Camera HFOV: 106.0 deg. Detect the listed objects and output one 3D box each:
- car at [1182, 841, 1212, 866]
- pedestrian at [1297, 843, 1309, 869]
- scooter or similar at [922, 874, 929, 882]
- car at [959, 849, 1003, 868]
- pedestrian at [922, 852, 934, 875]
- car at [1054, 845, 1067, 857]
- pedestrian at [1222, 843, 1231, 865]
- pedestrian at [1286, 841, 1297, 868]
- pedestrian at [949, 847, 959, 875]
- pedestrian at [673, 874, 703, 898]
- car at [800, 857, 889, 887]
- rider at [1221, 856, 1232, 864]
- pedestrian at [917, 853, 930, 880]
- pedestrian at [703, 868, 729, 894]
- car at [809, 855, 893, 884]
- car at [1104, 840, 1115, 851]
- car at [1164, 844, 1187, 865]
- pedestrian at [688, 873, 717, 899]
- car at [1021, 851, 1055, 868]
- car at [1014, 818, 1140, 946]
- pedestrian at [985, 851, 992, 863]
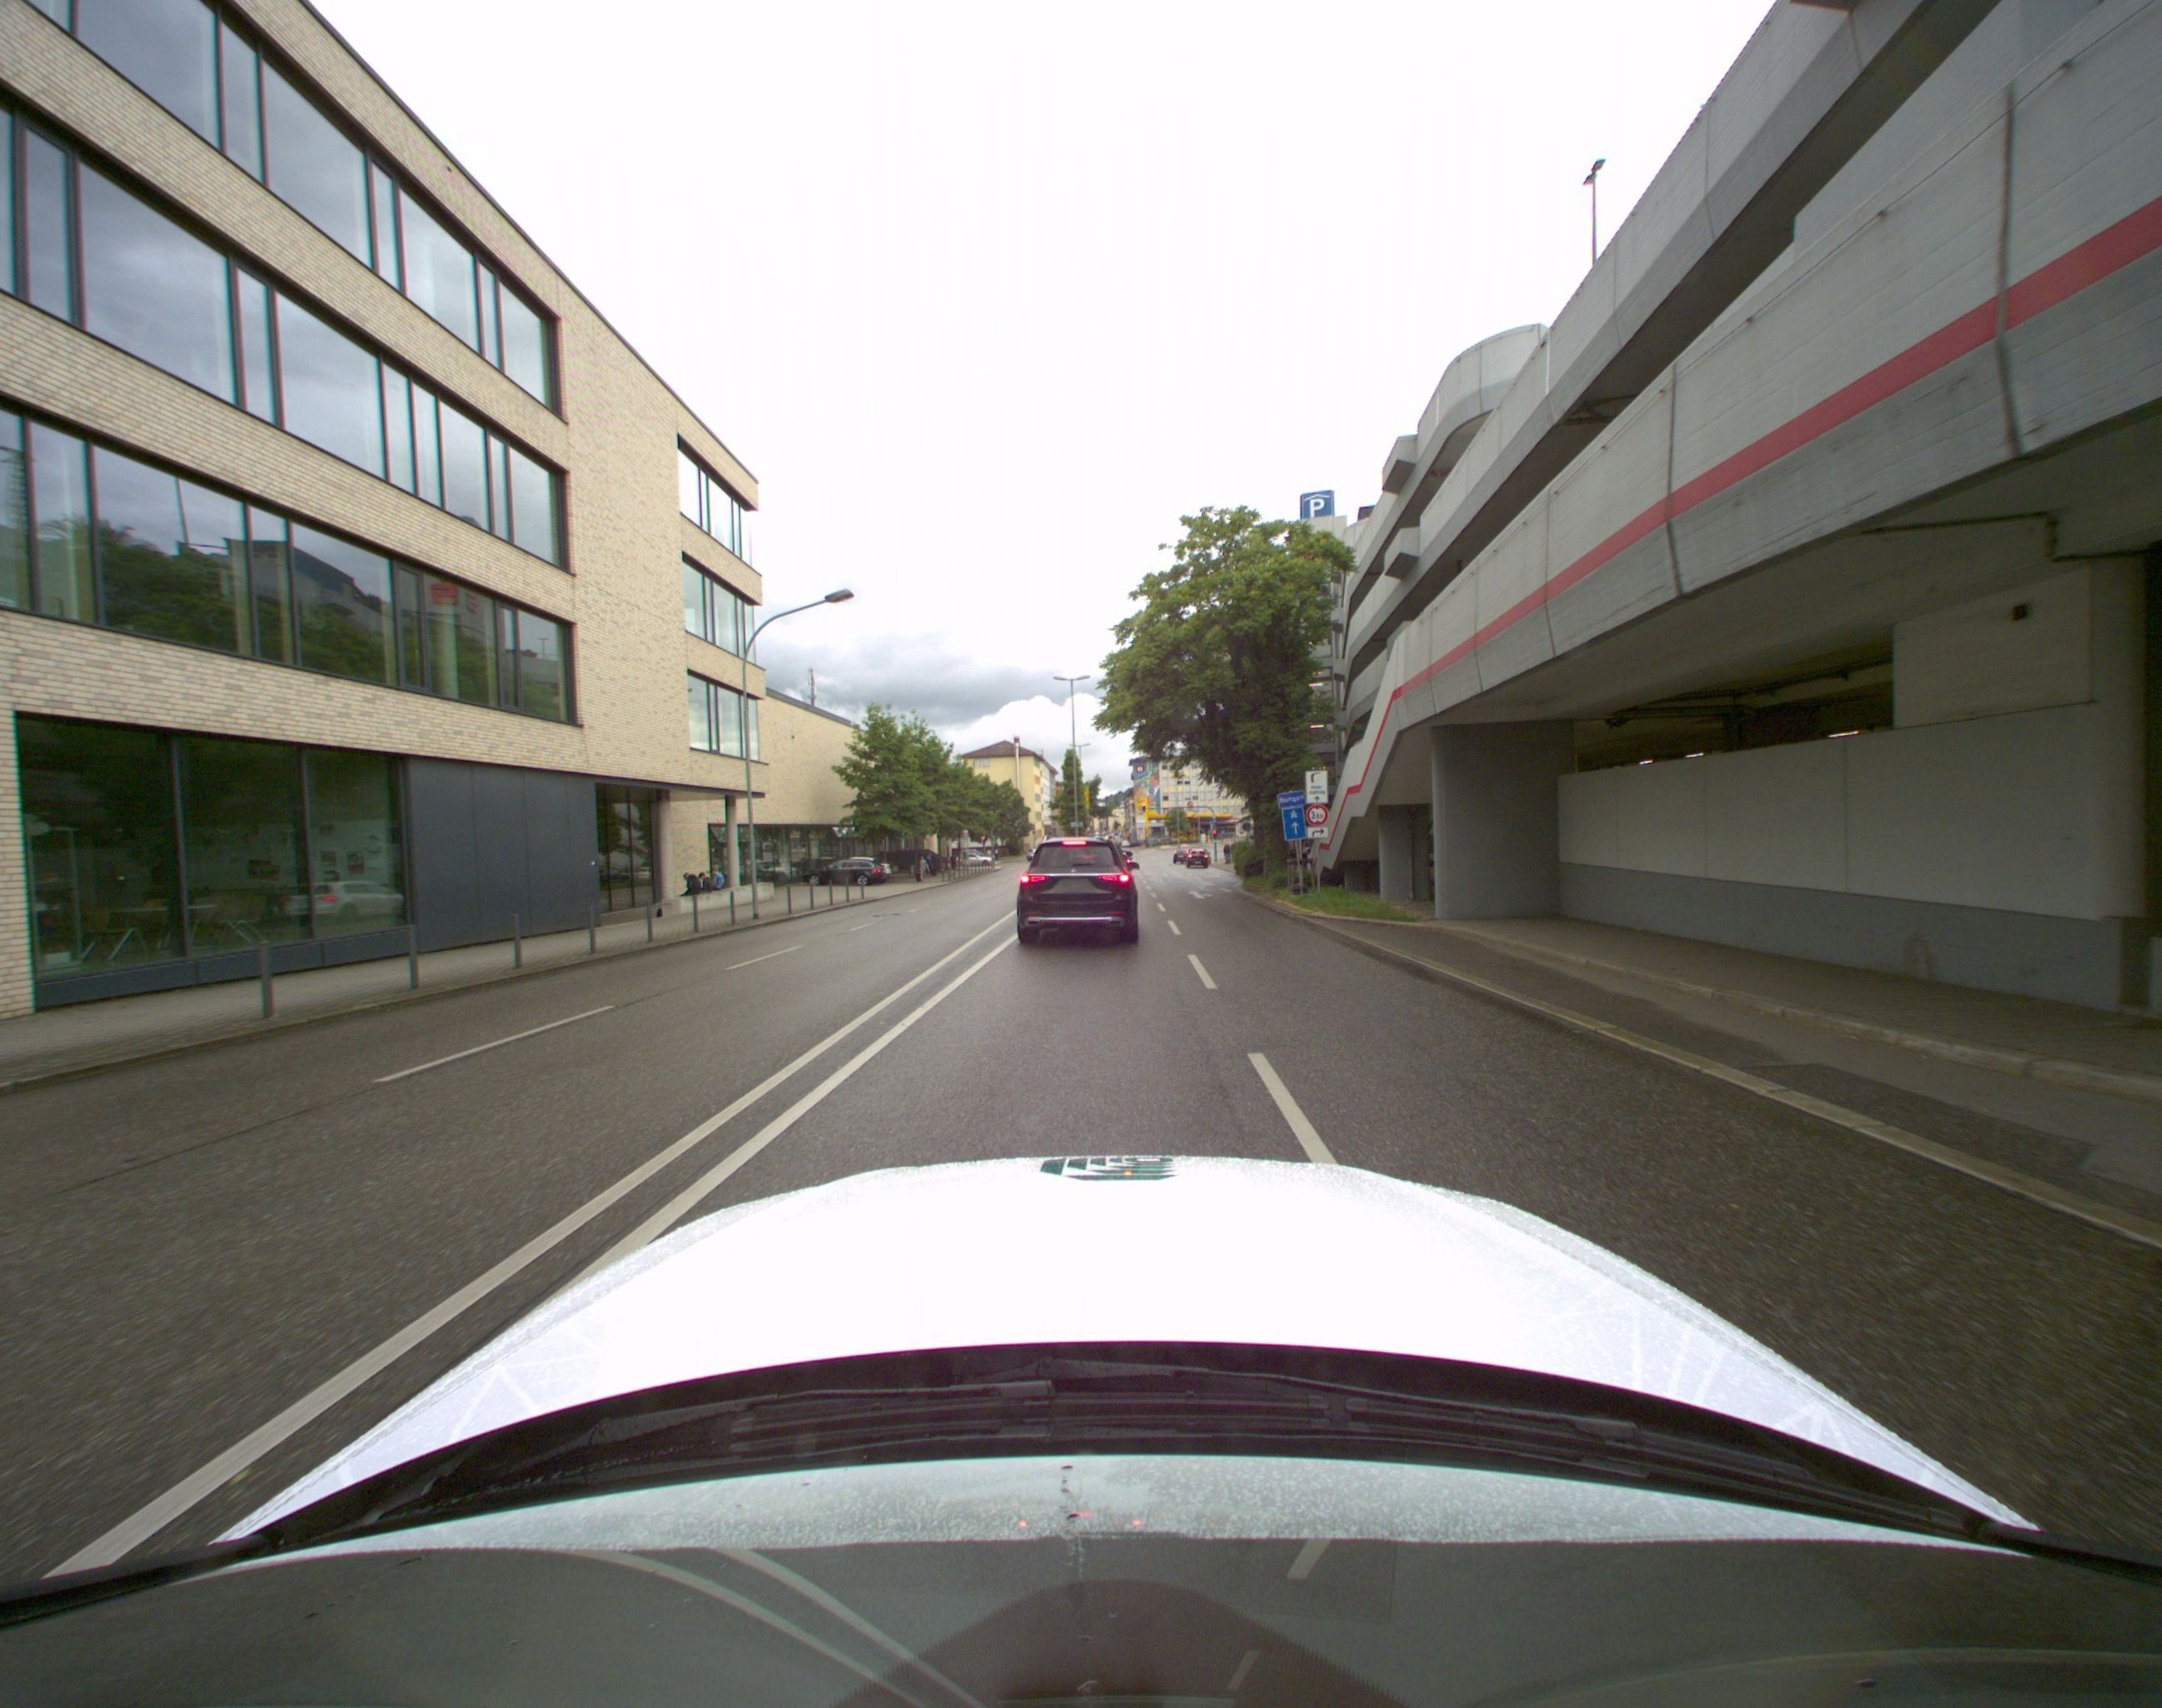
[{"bbox_3d":[9.576,-0.077,67.507,1.987,2.013,4.001,-1,0,1],"label":"car"},{"bbox_3d":[12.642,0.127,46.365,0.578,1.501,0.505,0,-1,8],"label":"pedestrian"},{"bbox_3d":[-10.051,1.543,52.623,0.279,0.501,0.616,0,-1,3],"label":"scooter or similar"},{"bbox_3d":[-11.193,0.502,91.652,4.797,2.013,1.996,-1,1,-6],"label":"car"},{"bbox_3d":[-11.225,0.695,59.620,0.686,1.726,0.754,0,-2,1],"label":"pedestrian"},{"bbox_3d":[-3.378,-0.479,134.359,1.986,1.875,5.142,0,-1,1],"label":"car"},{"bbox_3d":[12.858,0.001,71.966,0.657,1.917,0.732,0,-1,16],"label":"pedestrian"},{"bbox_3d":[12.004,0.038,46.420,0.548,1.532,0.489,0,-1,9],"label":"pedestrian"},{"bbox_3d":[-9.254,0.487,59.158,0.586,2.014,0.749,0,-1,1],"label":"pedestrian"},{"bbox_3d":[-12.921,1.044,26.775,0.595,0.786,0.760,0,-1,2],"label":"pedestrian"},{"bbox_3d":[-13.263,0.988,45.961,4.459,1.587,1.997,-1,0,-4],"label":"car"},{"bbox_3d":[12.796,0.541,71.603,0.624,0.740,0.700,-1,-1,43],"label":"rider"},{"bbox_3d":[-10.108,0.813,52.214,0.673,1.697,0.479,0,-2,2],"label":"pedestrian"},{"bbox_3d":[-12.931,0.952,28.867,0.678,0.886,0.524,0,-1,2],"label":"pedestrian"},{"bbox_3d":[-13.527,0.883,48.108,4.406,1.573,1.998,0,2,-3],"label":"car"},{"bbox_3d":[5.799,-1.736,166.601,1.986,2.013,4.002,-3,0,2],"label":"car"},{"bbox_3d":[9.225,0.066,79.358,1.985,2.014,4.003,0,-1,3],"label":"car"},{"bbox_3d":[-12.866,1.072,27.693,0.584,0.845,0.728,-1,-1,2],"label":"pedestrian"},{"bbox_3d":[-5.250,0.638,98.917,3.987,1.942,1.993,-1,0,-10],"label":"car"},{"bbox_3d":[-0.011,0.453,14.775,1.986,2.014,4.001,0,-1,1],"label":"car"},{"bbox_3d":[-11.199,0.386,98.677,0.708,1.462,0.598,0,-1,1],"label":"pedestrian"}]
